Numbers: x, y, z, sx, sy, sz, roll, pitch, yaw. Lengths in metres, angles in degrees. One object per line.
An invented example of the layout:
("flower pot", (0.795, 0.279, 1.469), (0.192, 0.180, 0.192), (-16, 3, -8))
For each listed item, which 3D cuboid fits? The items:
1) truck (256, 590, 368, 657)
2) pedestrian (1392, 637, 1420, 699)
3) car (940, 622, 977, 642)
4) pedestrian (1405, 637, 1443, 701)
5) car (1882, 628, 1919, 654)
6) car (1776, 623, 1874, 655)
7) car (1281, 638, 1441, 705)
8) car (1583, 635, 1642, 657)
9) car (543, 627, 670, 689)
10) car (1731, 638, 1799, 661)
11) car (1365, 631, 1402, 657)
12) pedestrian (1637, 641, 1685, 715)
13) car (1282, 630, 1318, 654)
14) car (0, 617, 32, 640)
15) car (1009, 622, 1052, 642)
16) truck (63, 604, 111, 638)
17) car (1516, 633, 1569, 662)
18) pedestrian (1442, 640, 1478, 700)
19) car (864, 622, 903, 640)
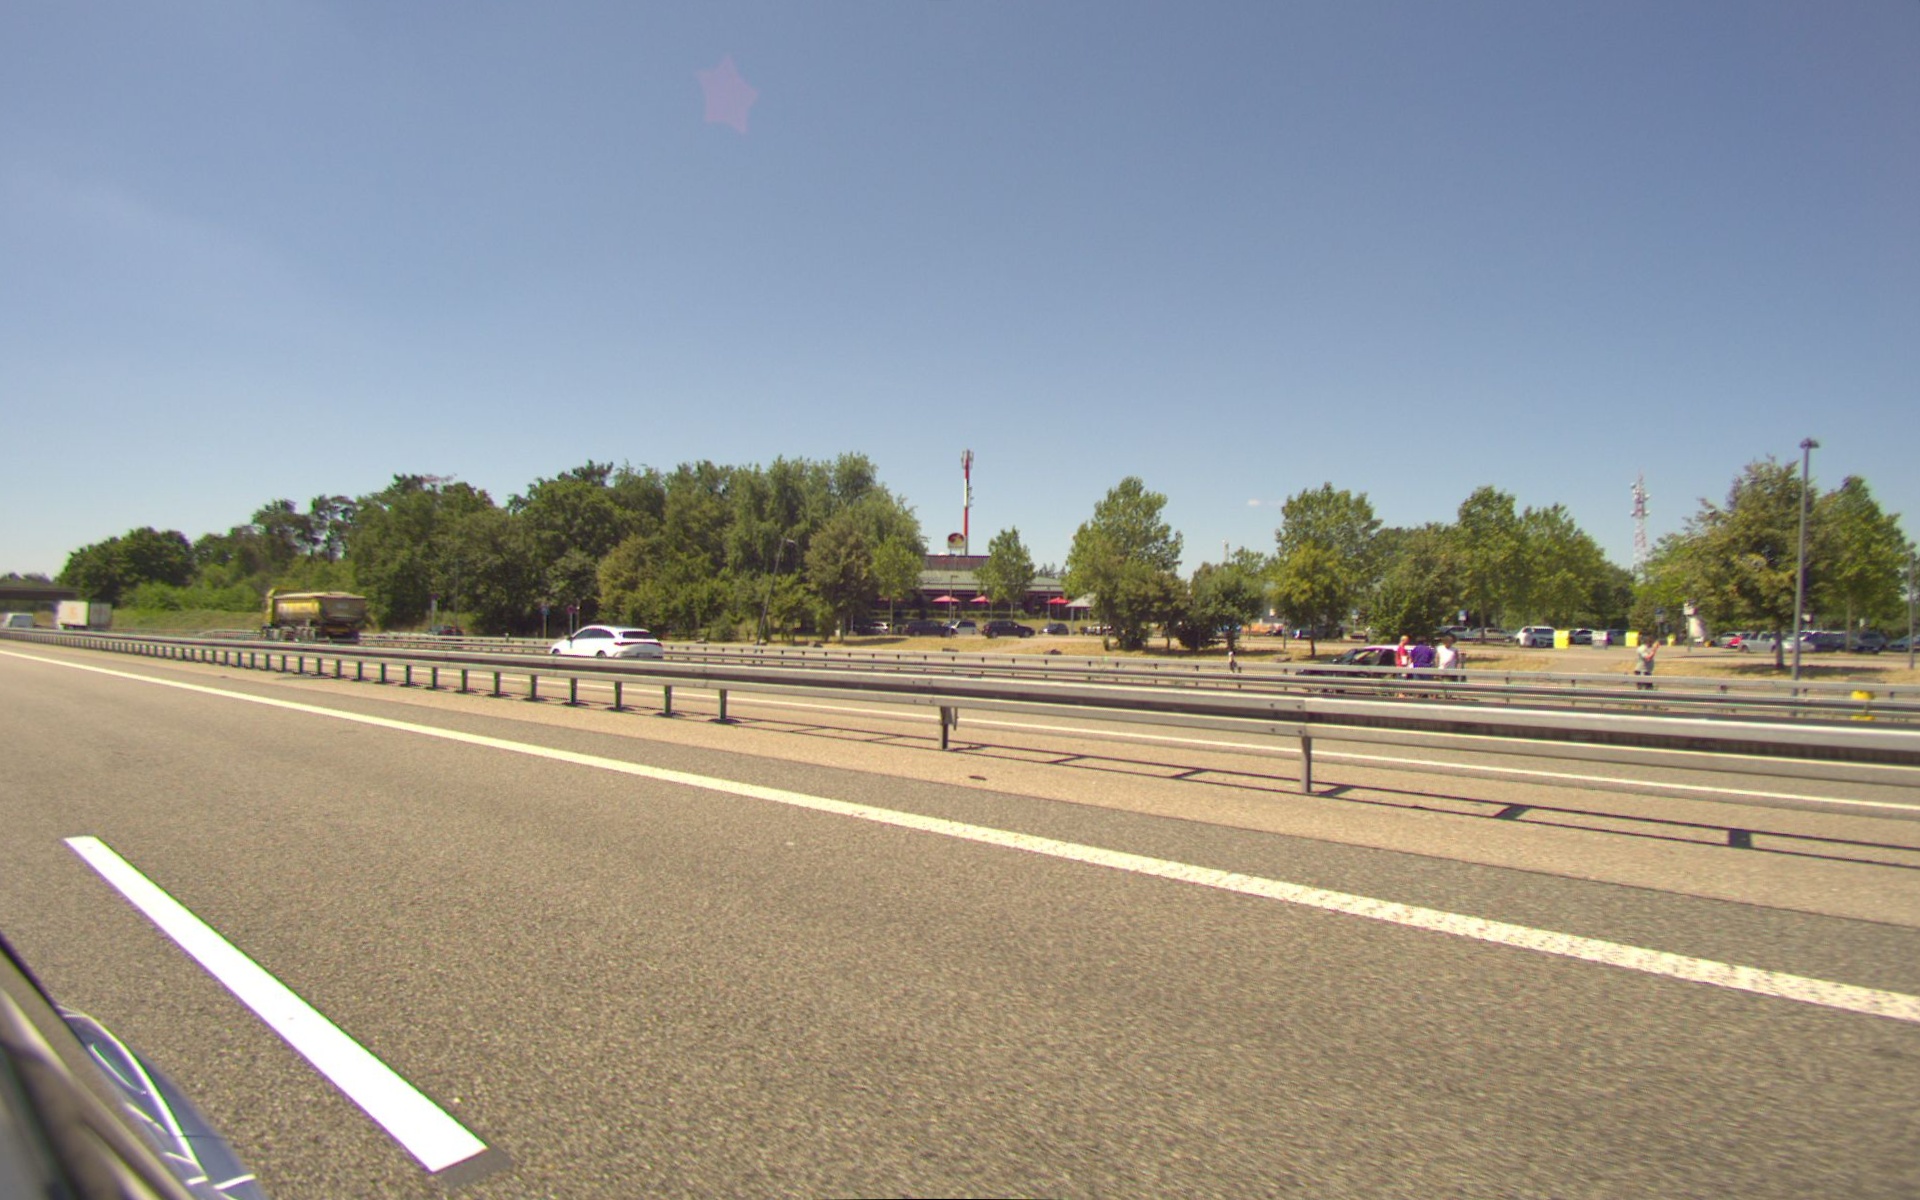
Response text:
("truck", (-40.566, 1.376, 63.131), (11.485, 3.842, 2.835), (-1, 0, 41))
("pedestrian", (11.942, 1.804, 27.117), (0.466, 1.619, 0.501), (-1, 0, -35))
("car", (-0.126, 3.047, 96.274), (1.797, 1.786, 3.976), (-1, 0, 29))
("pedestrian", (12.144, 1.801, 26.500), (0.635, 1.619, 0.657), (-1, 0, -37))
("car", (61.749, 2.638, 64.759), (1.534, 1.621, 3.709), (-1, 0, -29))
("car", (46.155, 2.063, 54.078), (3.680, 1.621, 1.547), (-1, 0, 28))
("car", (11.590, 2.006, 29.380), (3.999, 1.684, 1.674), (-1, 0, 42))
("car", (49.124, 3.434, 76.204), (3.600, 1.544, 1.541), (-1, 0, 39))
("car", (-11.157, 1.753, 31.825), (4.507, 1.726, 1.787), (-1, 0, 41))
("car", (58.042, 3.543, 73.017), (1.537, 1.544, 3.609), (-1, 0, -42))
("car", (29.216, 3.015, 69.871), (1.479, 1.621, 3.107), (-1, 0, 6))
("pedestrian", (15.995, 1.759, 23.117), (0.873, 1.619, 0.669), (-1, 0, 34))
("car", (24.806, 3.072, 73.847), (1.476, 1.621, 3.114), (-1, 0, -2))
("car", (-86.748, 2.582, 92.805), (3.981, 1.992, 1.945), (-1, 0, 41))
("car", (6.612, 2.988, 94.482), (3.632, 1.786, 1.675), (-1, 0, -22))
("truck", (-117.050, 2.770, 135.563), (11.328, 4.445, 3.357), (-1, 0, 41))
("car", (36.280, 2.962, 63.128), (1.542, 1.621, 3.433), (-1, 0, 6))
("pedestrian", (13.284, 1.848, 26.880), (0.757, 1.529, 0.748), (-1, 0, 33))
("car", (-7.942, 3.177, 104.785), (3.637, 1.786, 1.612), (-1, 0, -22))
